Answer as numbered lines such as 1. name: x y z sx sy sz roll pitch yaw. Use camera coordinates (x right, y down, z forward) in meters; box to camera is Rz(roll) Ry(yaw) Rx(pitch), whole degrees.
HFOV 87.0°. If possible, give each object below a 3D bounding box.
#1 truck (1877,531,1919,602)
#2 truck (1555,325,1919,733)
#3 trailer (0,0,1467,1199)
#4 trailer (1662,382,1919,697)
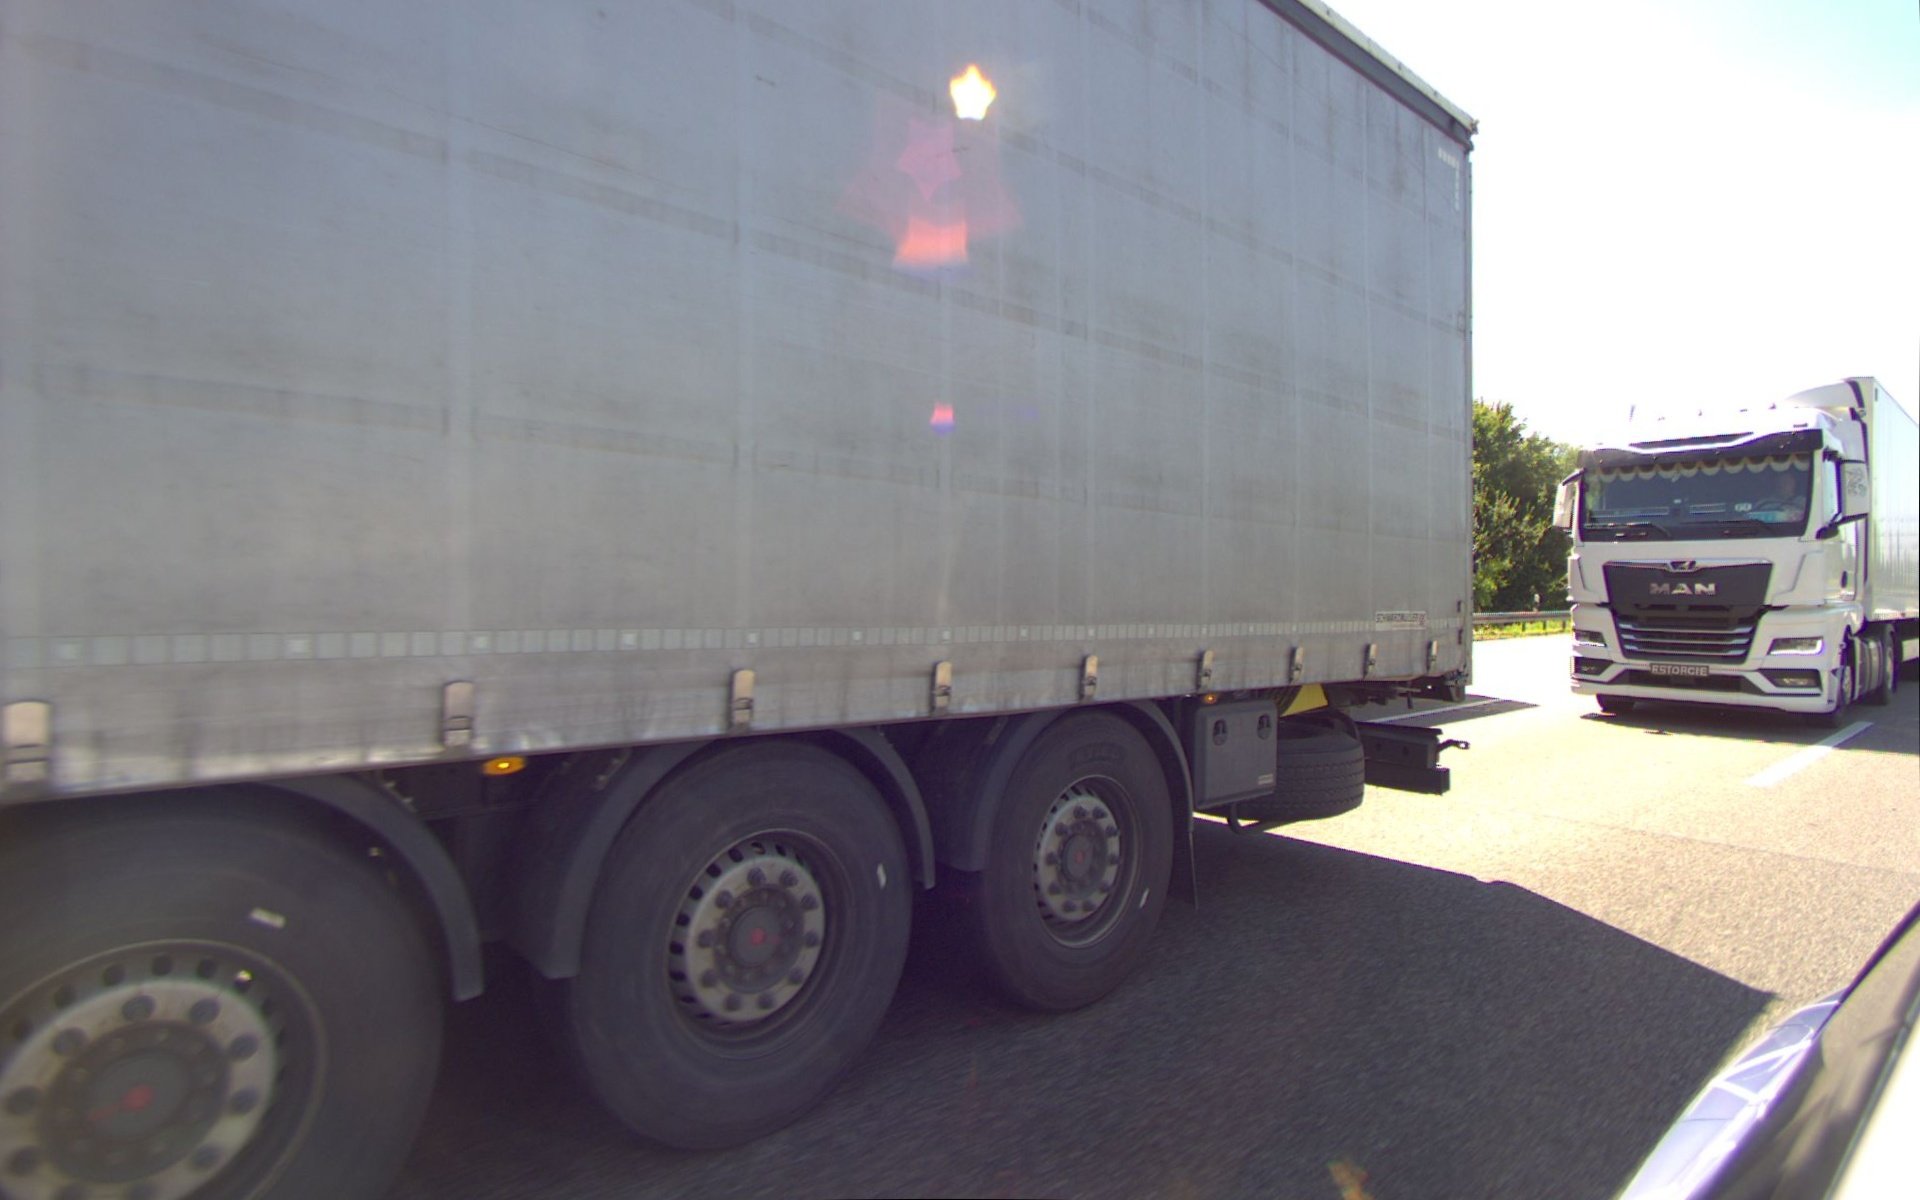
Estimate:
1. truck: 60.186 -2.030 63.248 10.787 4.144 3.030 -1 1 -41
2. truck: 10.299 -0.751 13.098 5.917 4.057 2.804 -1 1 -42
3. trailer: -3.749 -0.728 1.394 14.490 4.119 2.712 -1 1 -41
4. trailer: 16.105 -0.861 18.312 12.351 4.086 2.799 -1 1 -42
